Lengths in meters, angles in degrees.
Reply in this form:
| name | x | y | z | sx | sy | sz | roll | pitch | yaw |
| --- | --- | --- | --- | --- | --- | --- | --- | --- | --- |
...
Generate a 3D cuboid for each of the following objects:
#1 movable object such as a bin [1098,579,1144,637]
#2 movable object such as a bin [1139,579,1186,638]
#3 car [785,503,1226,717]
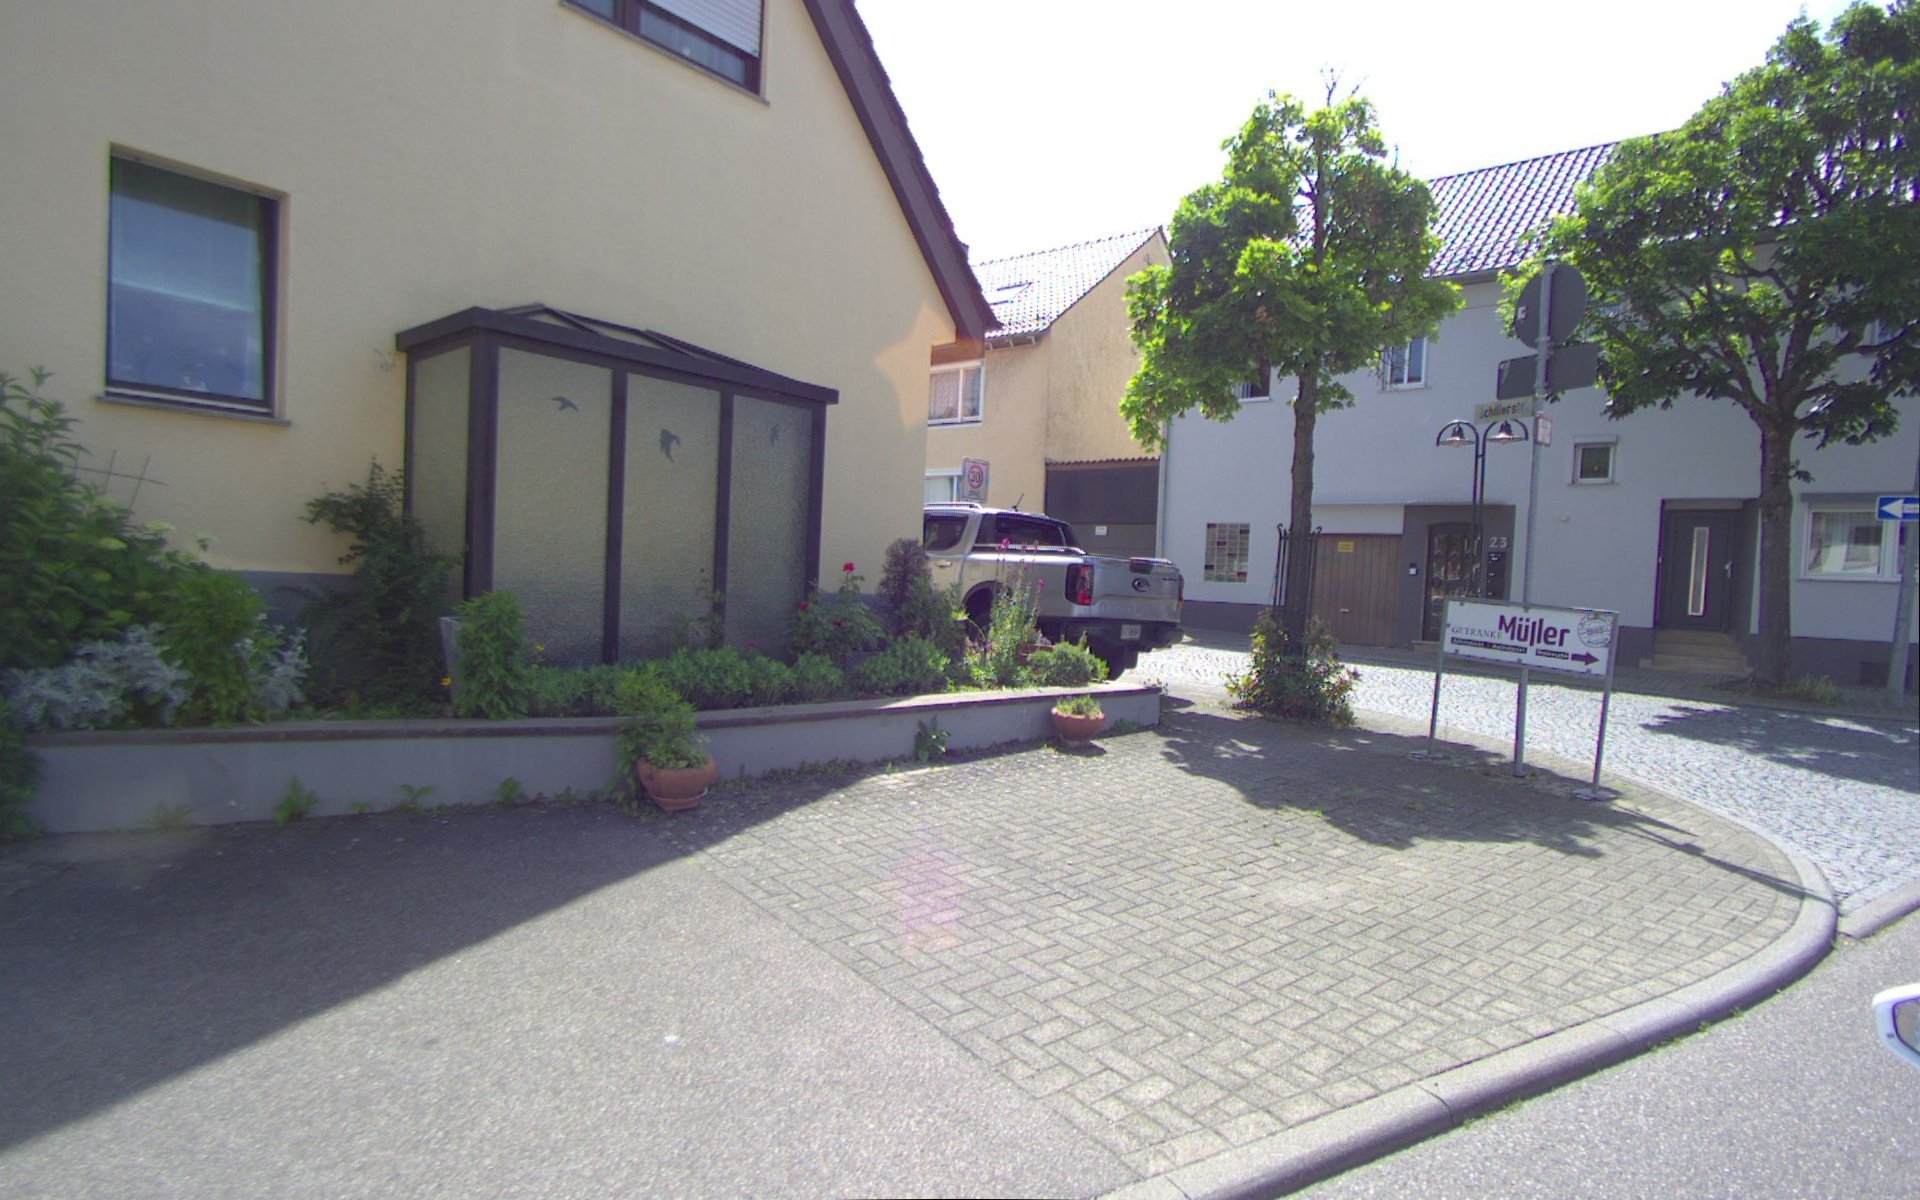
| name | x | y | z | sx | sy | sz | roll | pitch | yaw |
| --- | --- | --- | --- | --- | --- | --- | --- | --- | --- |
| movable object such as a bin | 3.157 | 0.141 | 19.705 | 0.639 | 1.087 | 0.626 | 4 | 3 | 36 |
| movable object such as a bin | 3.893 | 0.155 | 19.282 | 0.639 | 1.087 | 0.626 | 4 | 3 | 36 |
| car | 0.261 | -0.031 | 11.622 | 2.159 | 1.922 | 5.059 | 0 | 3 | -42 |
